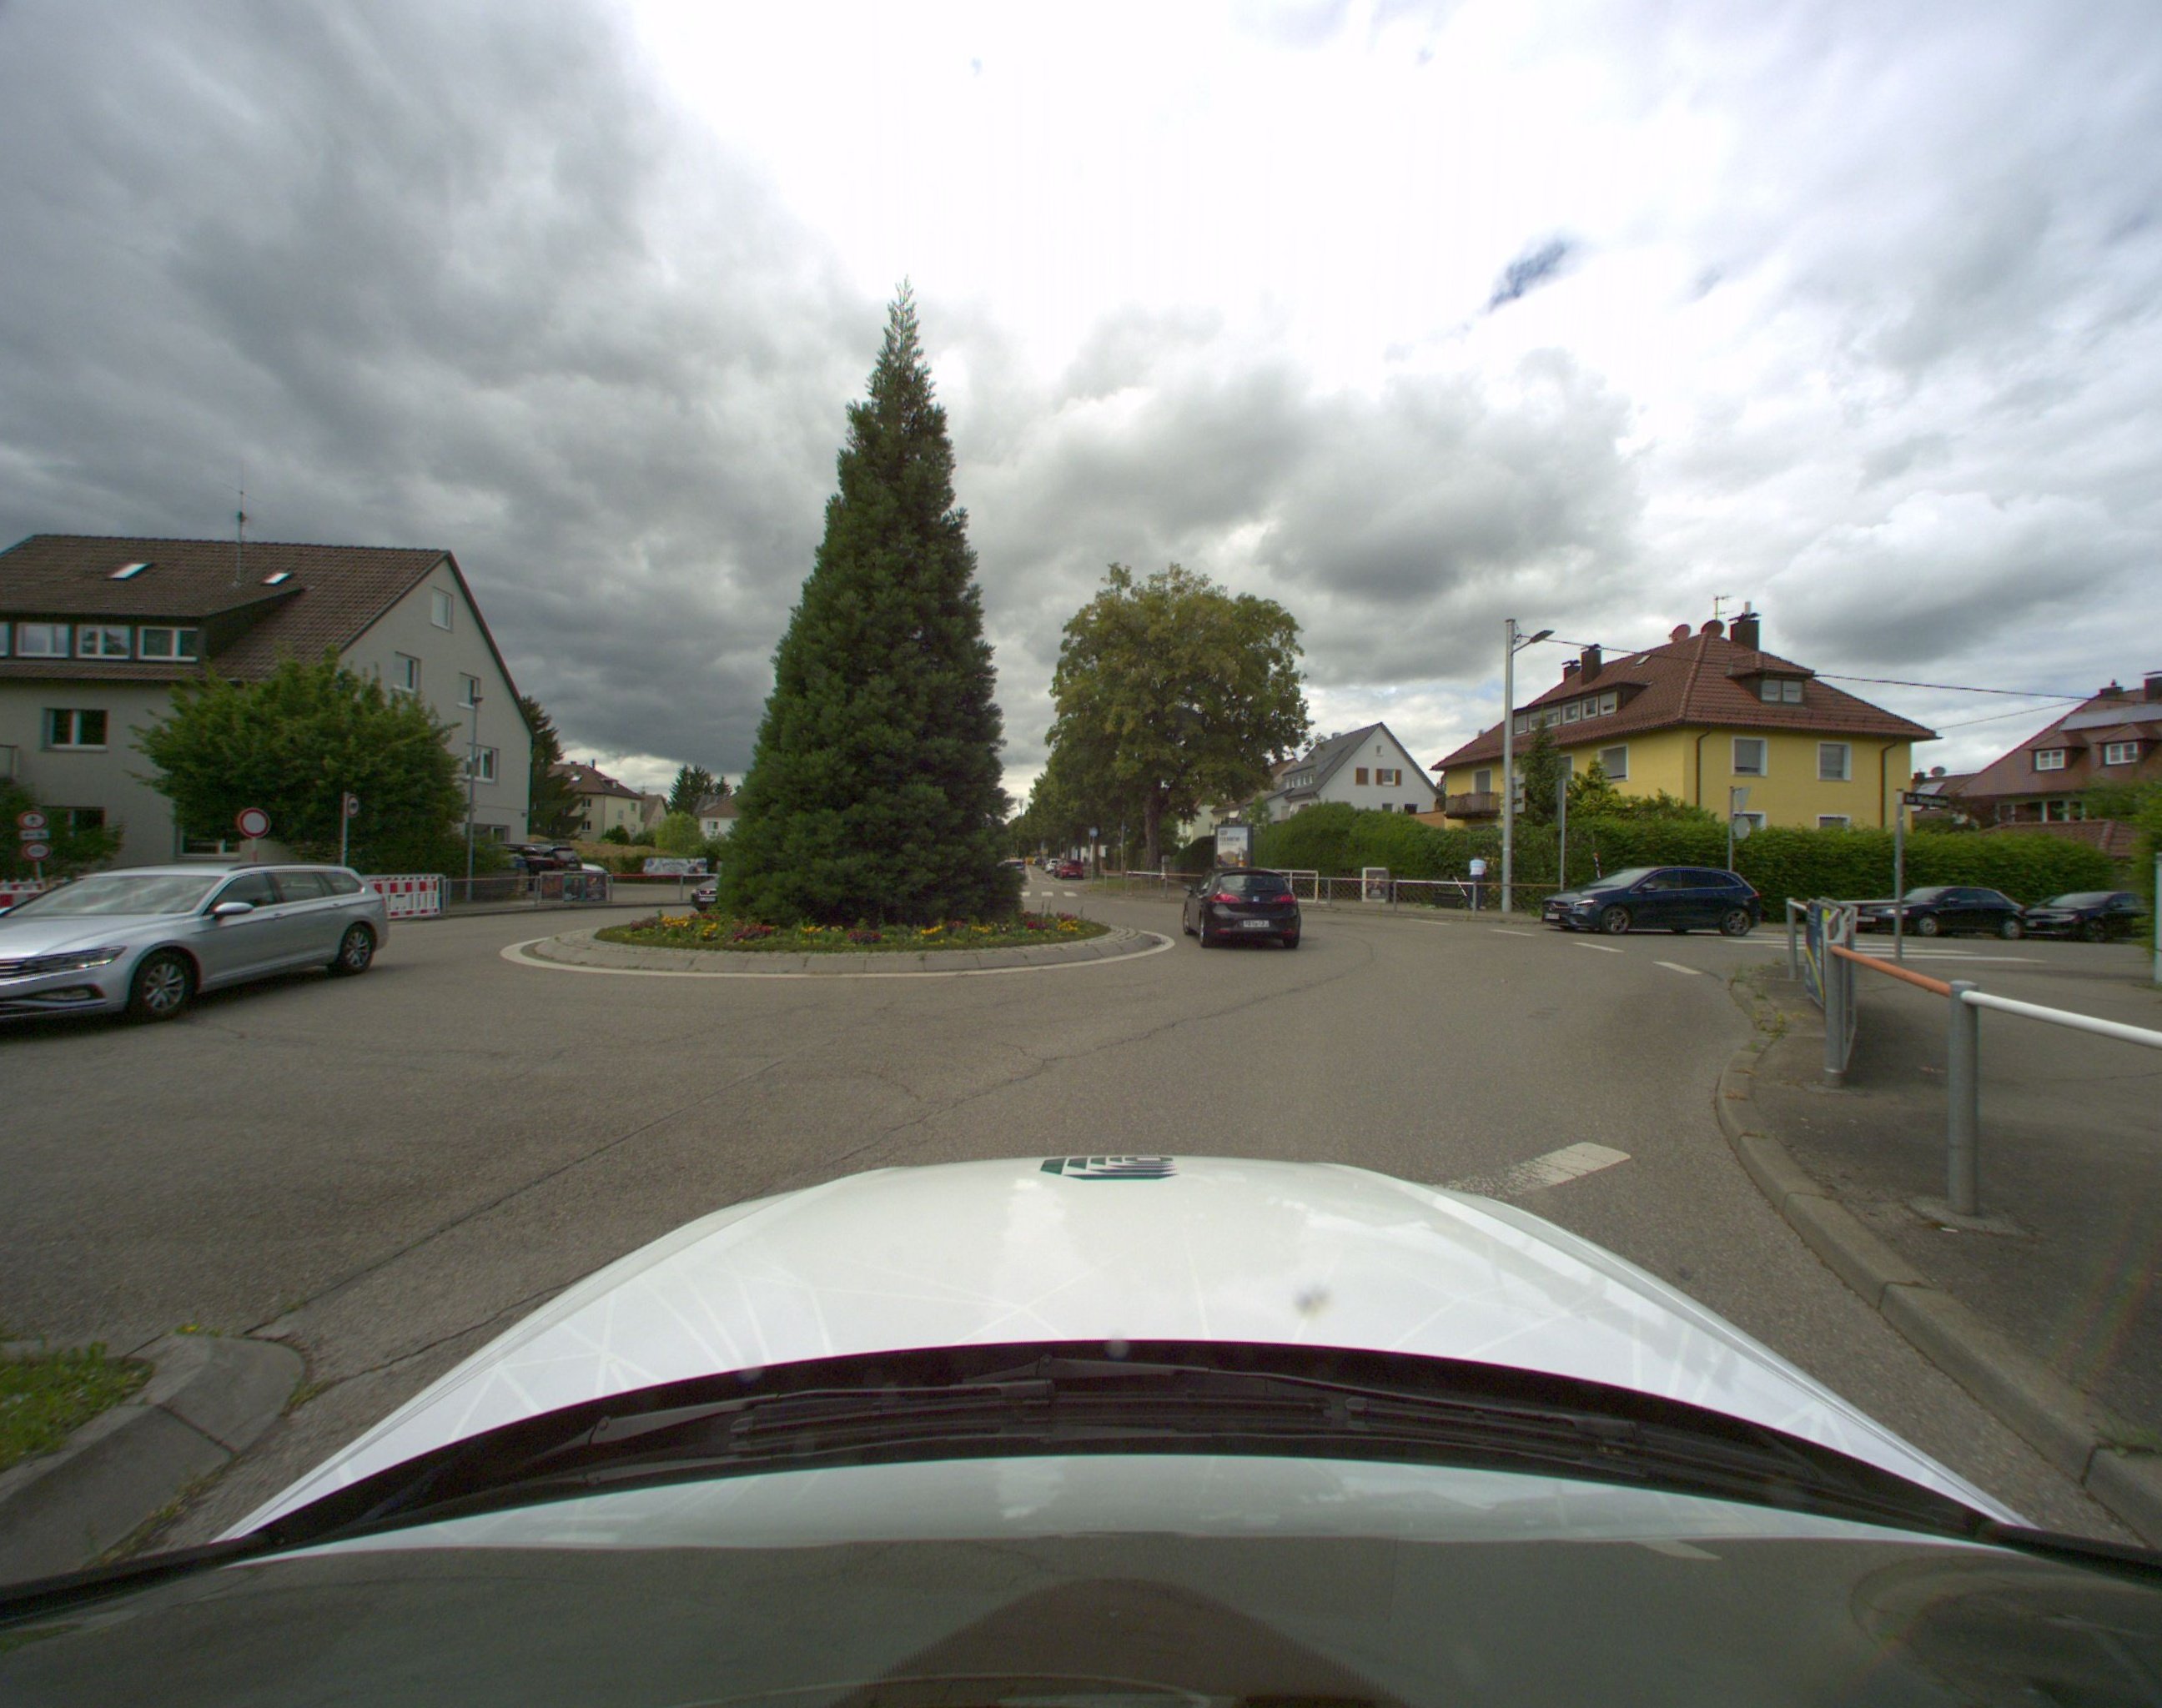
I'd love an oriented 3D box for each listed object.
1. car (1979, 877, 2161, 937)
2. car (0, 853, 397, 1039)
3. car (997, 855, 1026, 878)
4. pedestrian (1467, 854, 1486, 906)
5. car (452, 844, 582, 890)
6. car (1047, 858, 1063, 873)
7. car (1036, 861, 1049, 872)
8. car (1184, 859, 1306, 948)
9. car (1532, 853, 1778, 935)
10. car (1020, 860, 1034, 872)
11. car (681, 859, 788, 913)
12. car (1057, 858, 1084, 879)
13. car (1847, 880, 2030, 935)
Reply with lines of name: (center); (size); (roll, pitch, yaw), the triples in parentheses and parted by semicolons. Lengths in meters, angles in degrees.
car: (27.275, 1.433, 22.457); (3.585, 1.550, 1.649); (0, 0, -7)
car: (-9.788, 0.776, 8.822); (1.871, 1.560, 4.241); (0, 0, -13)
car: (-5.159, 0.910, 60.068); (1.991, 1.613, 3.991); (1, 0, -7)
pedestrian: (11.769, 0.774, 24.237); (0.486, 1.534, 0.487); (0, -1, 21)
car: (-20.346, 0.449, 29.481); (3.574, 1.611, 1.601); (0, 0, 2)
car: (-2.670, 1.168, 82.493); (1.591, 1.510, 3.596); (0, 0, -3)
car: (-5.796, 1.853, 122.245); (1.594, 1.510, 3.589); (0, 0, -9)
car: (3.015, 0.852, 15.721); (1.725, 1.486, 4.002); (0, 0, 2)
car: (12.749, 0.867, 18.245); (4.385, 1.661, 1.649); (1, 0, -1)
car: (-7.605, 1.674, 114.622); (1.594, 1.510, 3.589); (0, 0, -9)
car: (-10.434, 0.910, 24.801); (1.589, 1.510, 3.602); (0, 0, 2)
car: (-0.836, 1.070, 61.078); (1.475, 1.489, 3.368); (0, 0, -11)
car: (22.987, 1.409, 21.890); (3.625, 1.381, 1.596); (0, 0, -7)
